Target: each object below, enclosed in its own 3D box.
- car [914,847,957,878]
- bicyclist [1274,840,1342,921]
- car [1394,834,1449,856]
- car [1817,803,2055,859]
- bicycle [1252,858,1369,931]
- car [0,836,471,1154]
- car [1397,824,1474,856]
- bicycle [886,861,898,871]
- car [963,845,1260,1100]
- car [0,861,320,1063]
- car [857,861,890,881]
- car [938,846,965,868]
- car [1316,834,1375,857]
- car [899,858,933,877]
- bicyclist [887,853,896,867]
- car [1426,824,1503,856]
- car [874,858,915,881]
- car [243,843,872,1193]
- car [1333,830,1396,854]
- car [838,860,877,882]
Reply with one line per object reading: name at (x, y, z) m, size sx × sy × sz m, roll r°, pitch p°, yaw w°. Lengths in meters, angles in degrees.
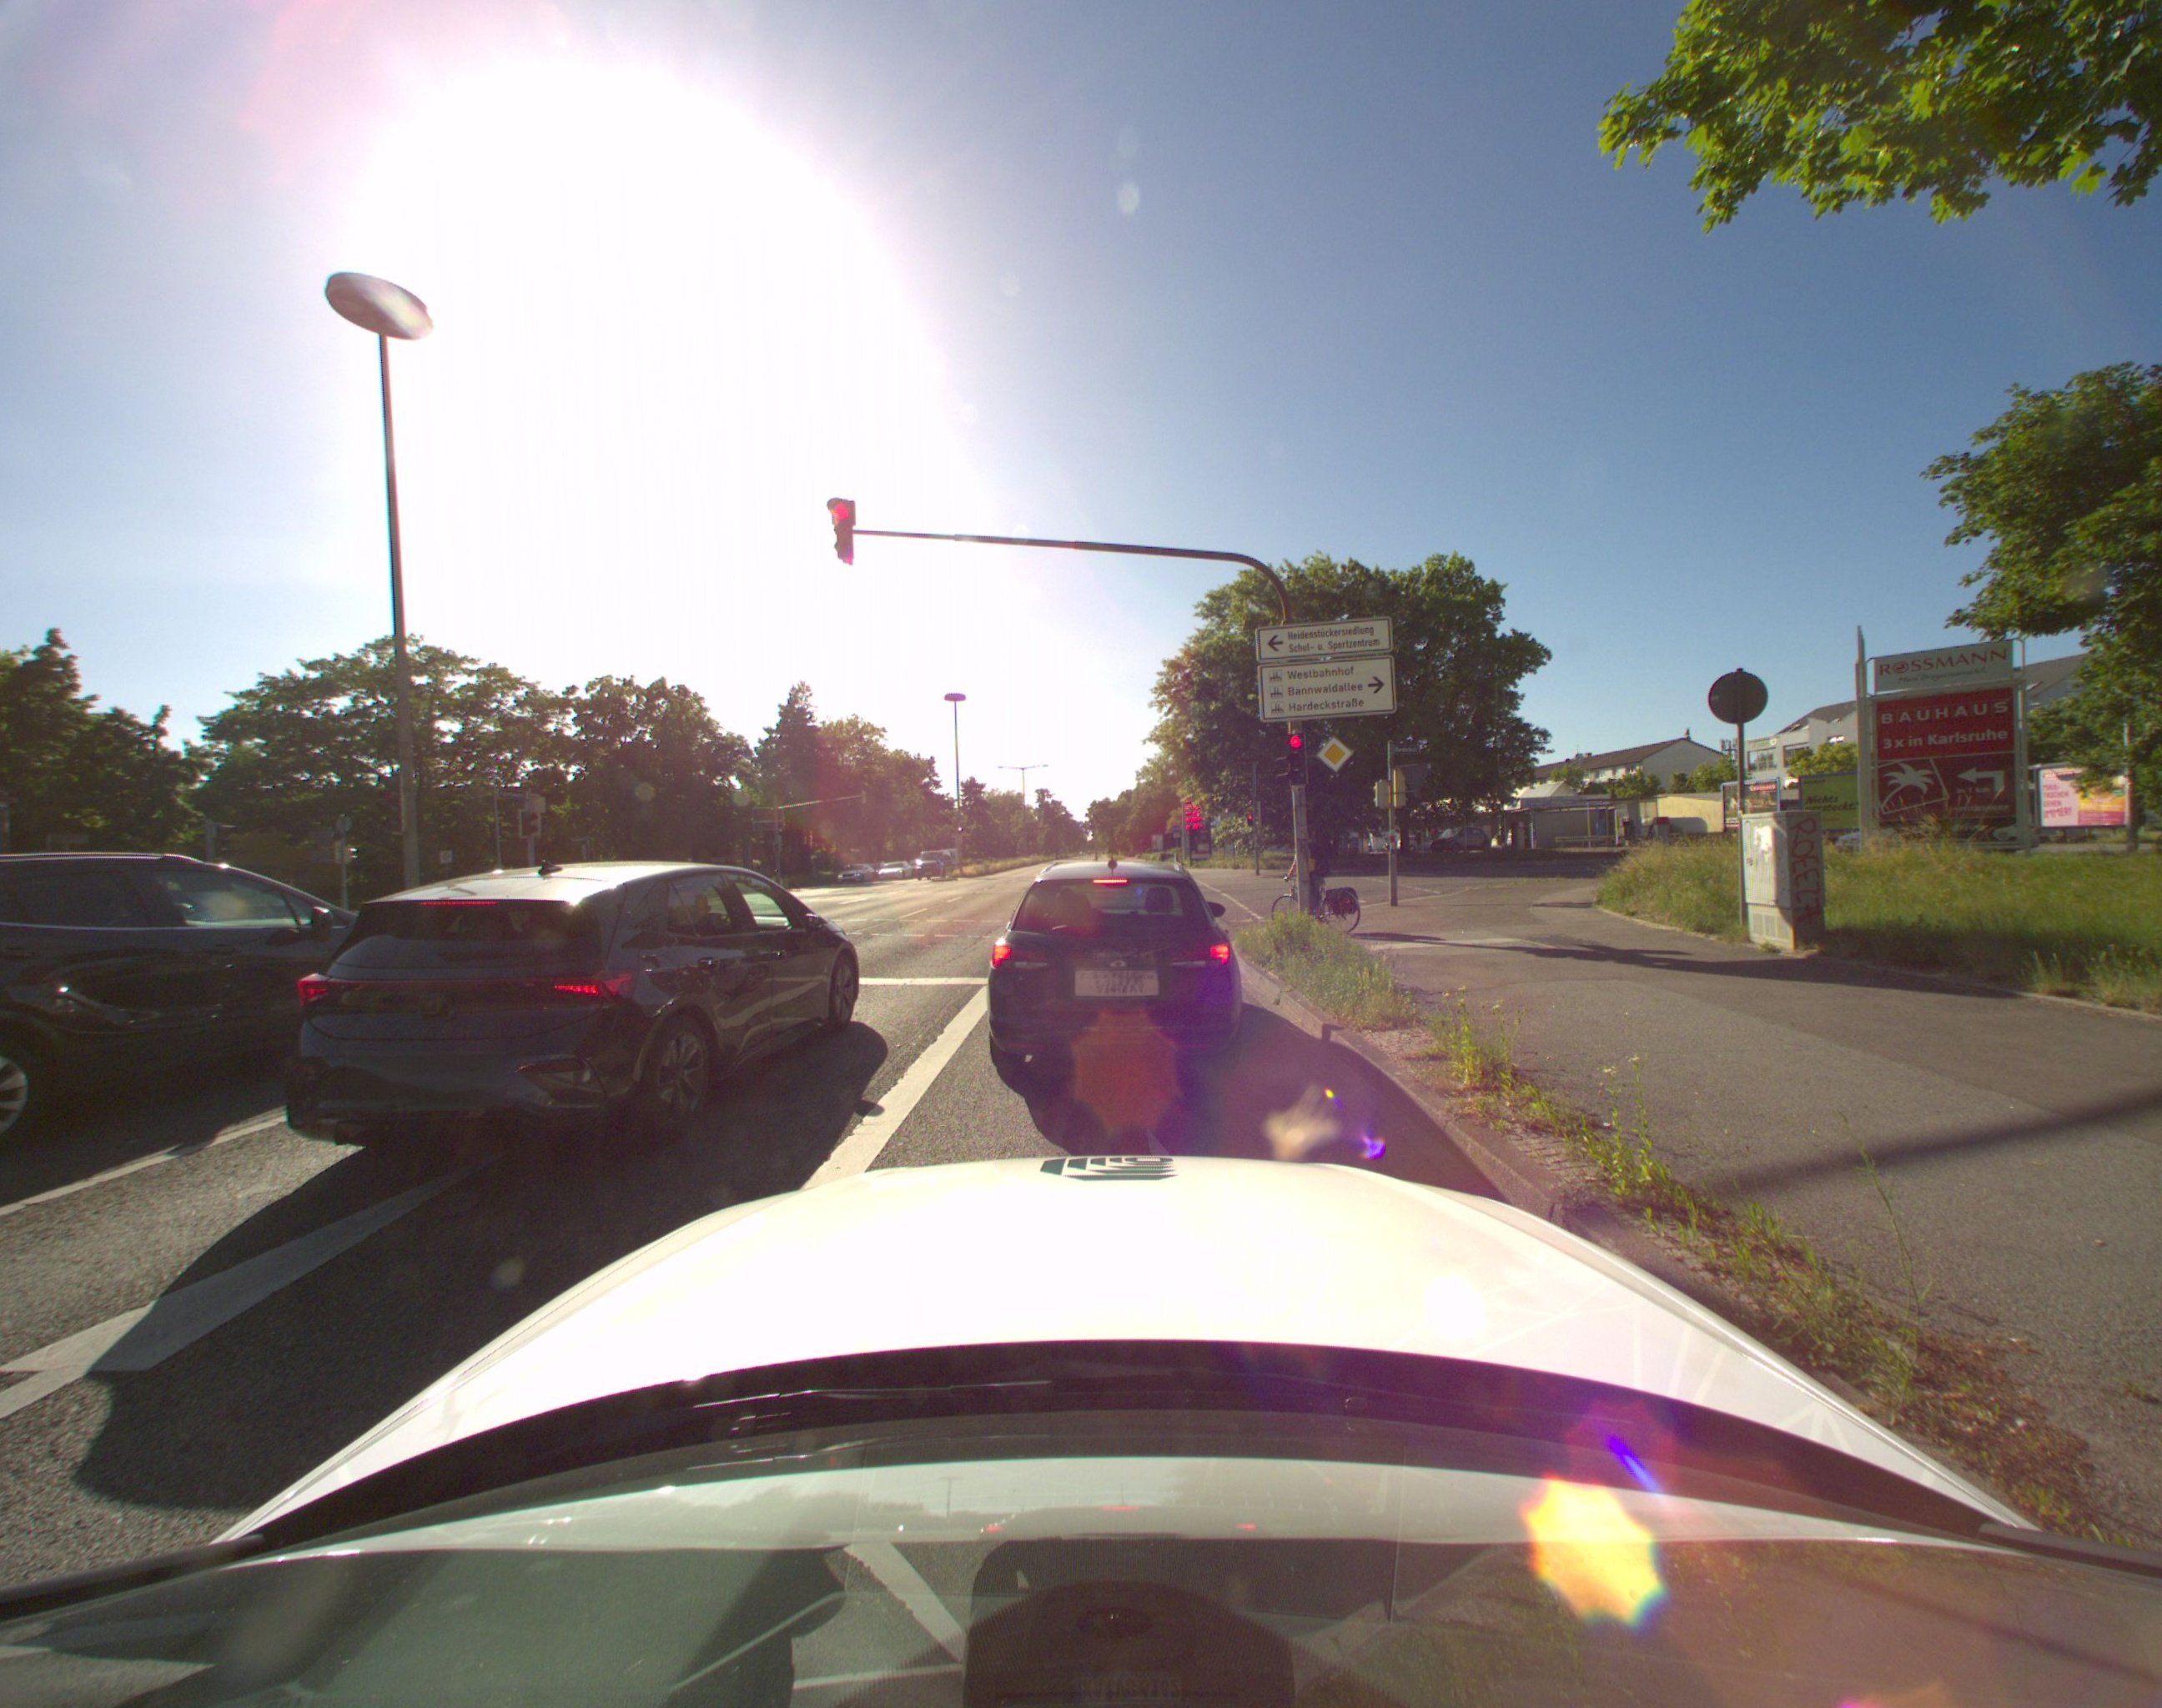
car at (-10.194, 0.570, 57.569) m, size 1.904 × 1.992 × 5.017 m, roll -3°, pitch 0°, yaw 2°
bicyclist at (3.718, 0.441, 13.375) m, size 0.541 × 1.277 × 0.819 m, roll -3°, pitch -2°, yaw -42°
car at (29.517, -0.748, 70.670) m, size 3.981 × 1.680 × 1.742 m, roll -3°, pitch 0°, yaw -6°
car at (27.272, -0.698, 26.186) m, size 4.969 × 1.486 × 2.007 m, roll -2°, pitch 0°, yaw 13°
bicycle at (3.731, 0.682, 13.371) m, size 0.541 × 1.097 × 1.755 m, roll -3°, pitch -2°, yaw -42°
car at (-6.620, 0.783, 5.518) m, size 1.798 × 1.689 × 4.002 m, roll -3°, pitch 0°, yaw 2°
car at (21.496, -0.836, 49.414) m, size 4.003 × 1.750 × 1.985 m, roll -3°, pitch 0°, yaw -22°
bicycle at (-23.158, 1.475, 99.777) m, size 0.873 × 1.212 × 2.534 m, roll -3°, pitch 0°, yaw -3°
car at (0.249, 0.721, 6.964) m, size 1.750 × 1.495 × 4.208 m, roll -1°, pitch 0°, yaw 2°
car at (-10.224, 0.983, 7.920) m, size 1.824 × 1.702 × 3.999 m, roll -3°, pitch 0°, yaw 0°
car at (-17.511, 1.445, 68.841) m, size 1.681 × 1.509 × 4.003 m, roll -3°, pitch 0°, yaw 0°
car at (-16.098, 0.348, 101.510) m, size 2.092 × 2.492 × 6.006 m, roll -3°, pitch 0°, yaw 2°
car at (19.325, -0.624, 59.525) m, size 3.903 × 1.517 × 1.733 m, roll -3°, pitch 0°, yaw -21°
car at (-13.694, 1.110, 67.689) m, size 1.680 × 1.433 × 4.617 m, roll -3°, pitch 0°, yaw 2°
bicyclist at (-23.198, 0.695, 99.771) m, size 0.874 × 1.648 × 1.198 m, roll -3°, pitch 0°, yaw -3°
car at (22.375, -0.822, 47.526) m, size 4.002 × 1.680 × 1.733 m, roll -3°, pitch 0°, yaw -21°
car at (-14.068, 1.157, 61.615) m, size 1.881 × 1.524 × 4.506 m, roll -3°, pitch 0°, yaw 2°
car at (-2.960, 0.768, 5.855) m, size 1.678 × 1.580 × 4.208 m, roll -1°, pitch 0°, yaw 2°
car at (19.660, -0.831, 56.433) m, size 3.903 × 1.517 × 1.733 m, roll -3°, pitch 0°, yaw -21°
car at (-17.090, 1.308, 62.379) m, size 1.680 × 1.509 × 4.005 m, roll -3°, pitch 0°, yaw 2°
